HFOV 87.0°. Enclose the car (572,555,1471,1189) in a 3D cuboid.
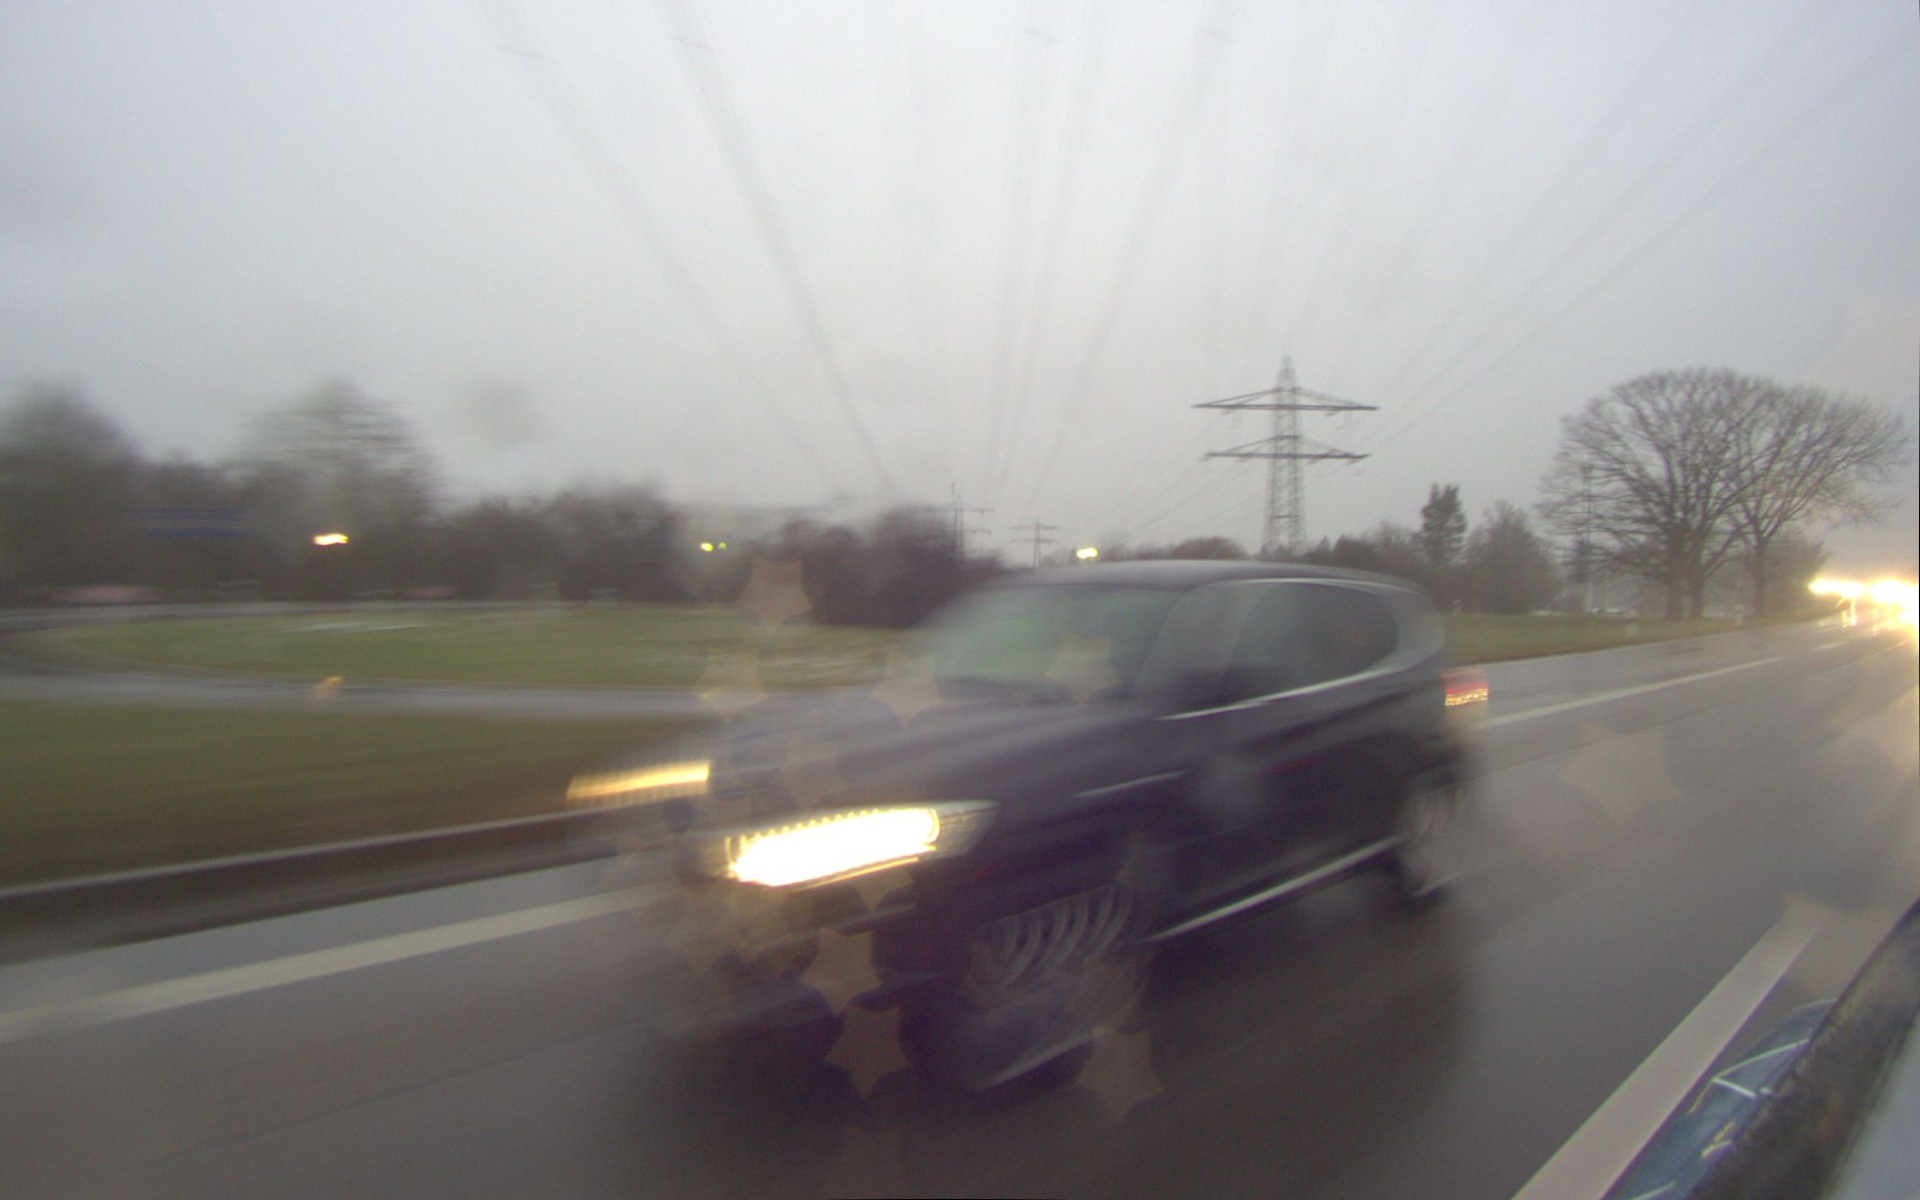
[{"bbox_3d":[0.529,0.638,4.317,3.742,1.528,1.681,0,1,-41],"label":"car"}]
